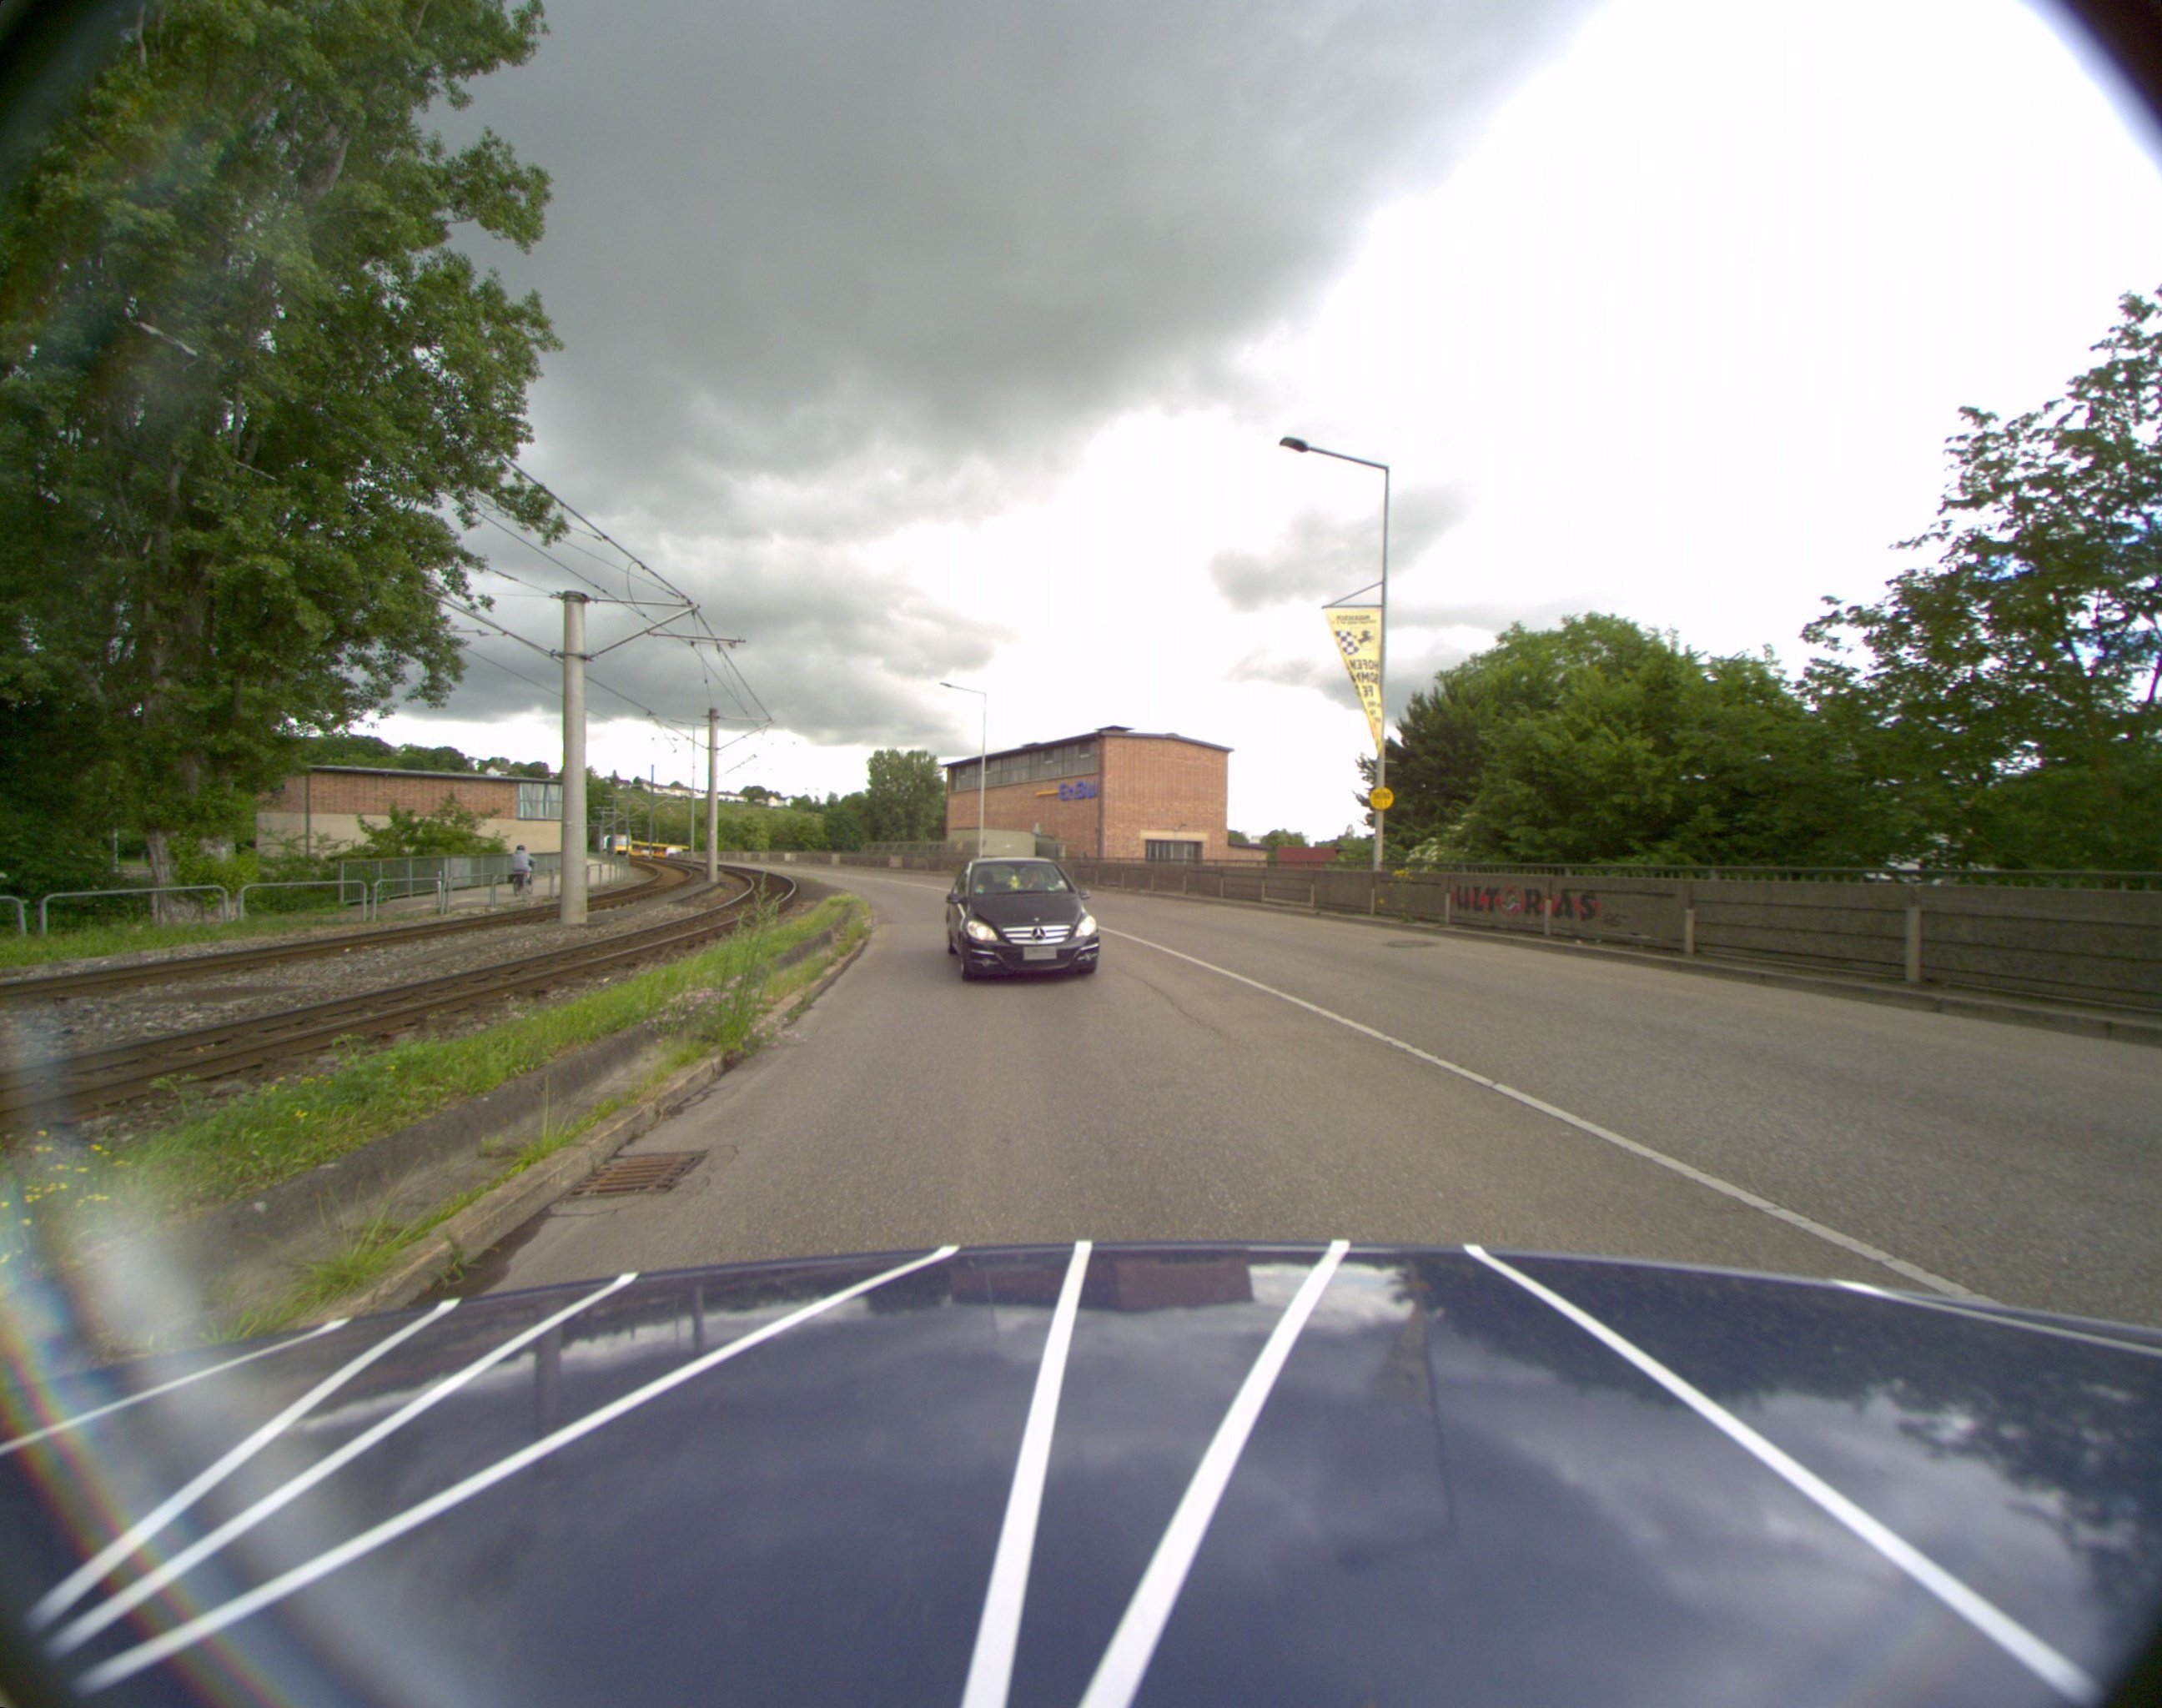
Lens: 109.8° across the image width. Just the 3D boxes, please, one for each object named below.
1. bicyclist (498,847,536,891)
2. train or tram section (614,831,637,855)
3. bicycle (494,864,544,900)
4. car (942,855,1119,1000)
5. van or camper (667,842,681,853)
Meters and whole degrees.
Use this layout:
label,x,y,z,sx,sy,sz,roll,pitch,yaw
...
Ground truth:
label,x,y,z,sx,sy,sz,roll,pitch,yaw
bicyclist,-17.767,0.465,23.947,0.595,1.352,0.909,-1,1,-13
train or tram section,-76.648,-1.906,127.737,3.038,3.896,9.417,0,1,-32
bicycle,-17.756,0.867,24.044,0.427,1.044,2.078,-1,0,-12
car,-0.937,0.865,11.026,1.863,1.612,3.994,0,1,-14
van or camper,-90.894,-1.505,169.605,2.159,2.461,4.701,-1,1,-21
